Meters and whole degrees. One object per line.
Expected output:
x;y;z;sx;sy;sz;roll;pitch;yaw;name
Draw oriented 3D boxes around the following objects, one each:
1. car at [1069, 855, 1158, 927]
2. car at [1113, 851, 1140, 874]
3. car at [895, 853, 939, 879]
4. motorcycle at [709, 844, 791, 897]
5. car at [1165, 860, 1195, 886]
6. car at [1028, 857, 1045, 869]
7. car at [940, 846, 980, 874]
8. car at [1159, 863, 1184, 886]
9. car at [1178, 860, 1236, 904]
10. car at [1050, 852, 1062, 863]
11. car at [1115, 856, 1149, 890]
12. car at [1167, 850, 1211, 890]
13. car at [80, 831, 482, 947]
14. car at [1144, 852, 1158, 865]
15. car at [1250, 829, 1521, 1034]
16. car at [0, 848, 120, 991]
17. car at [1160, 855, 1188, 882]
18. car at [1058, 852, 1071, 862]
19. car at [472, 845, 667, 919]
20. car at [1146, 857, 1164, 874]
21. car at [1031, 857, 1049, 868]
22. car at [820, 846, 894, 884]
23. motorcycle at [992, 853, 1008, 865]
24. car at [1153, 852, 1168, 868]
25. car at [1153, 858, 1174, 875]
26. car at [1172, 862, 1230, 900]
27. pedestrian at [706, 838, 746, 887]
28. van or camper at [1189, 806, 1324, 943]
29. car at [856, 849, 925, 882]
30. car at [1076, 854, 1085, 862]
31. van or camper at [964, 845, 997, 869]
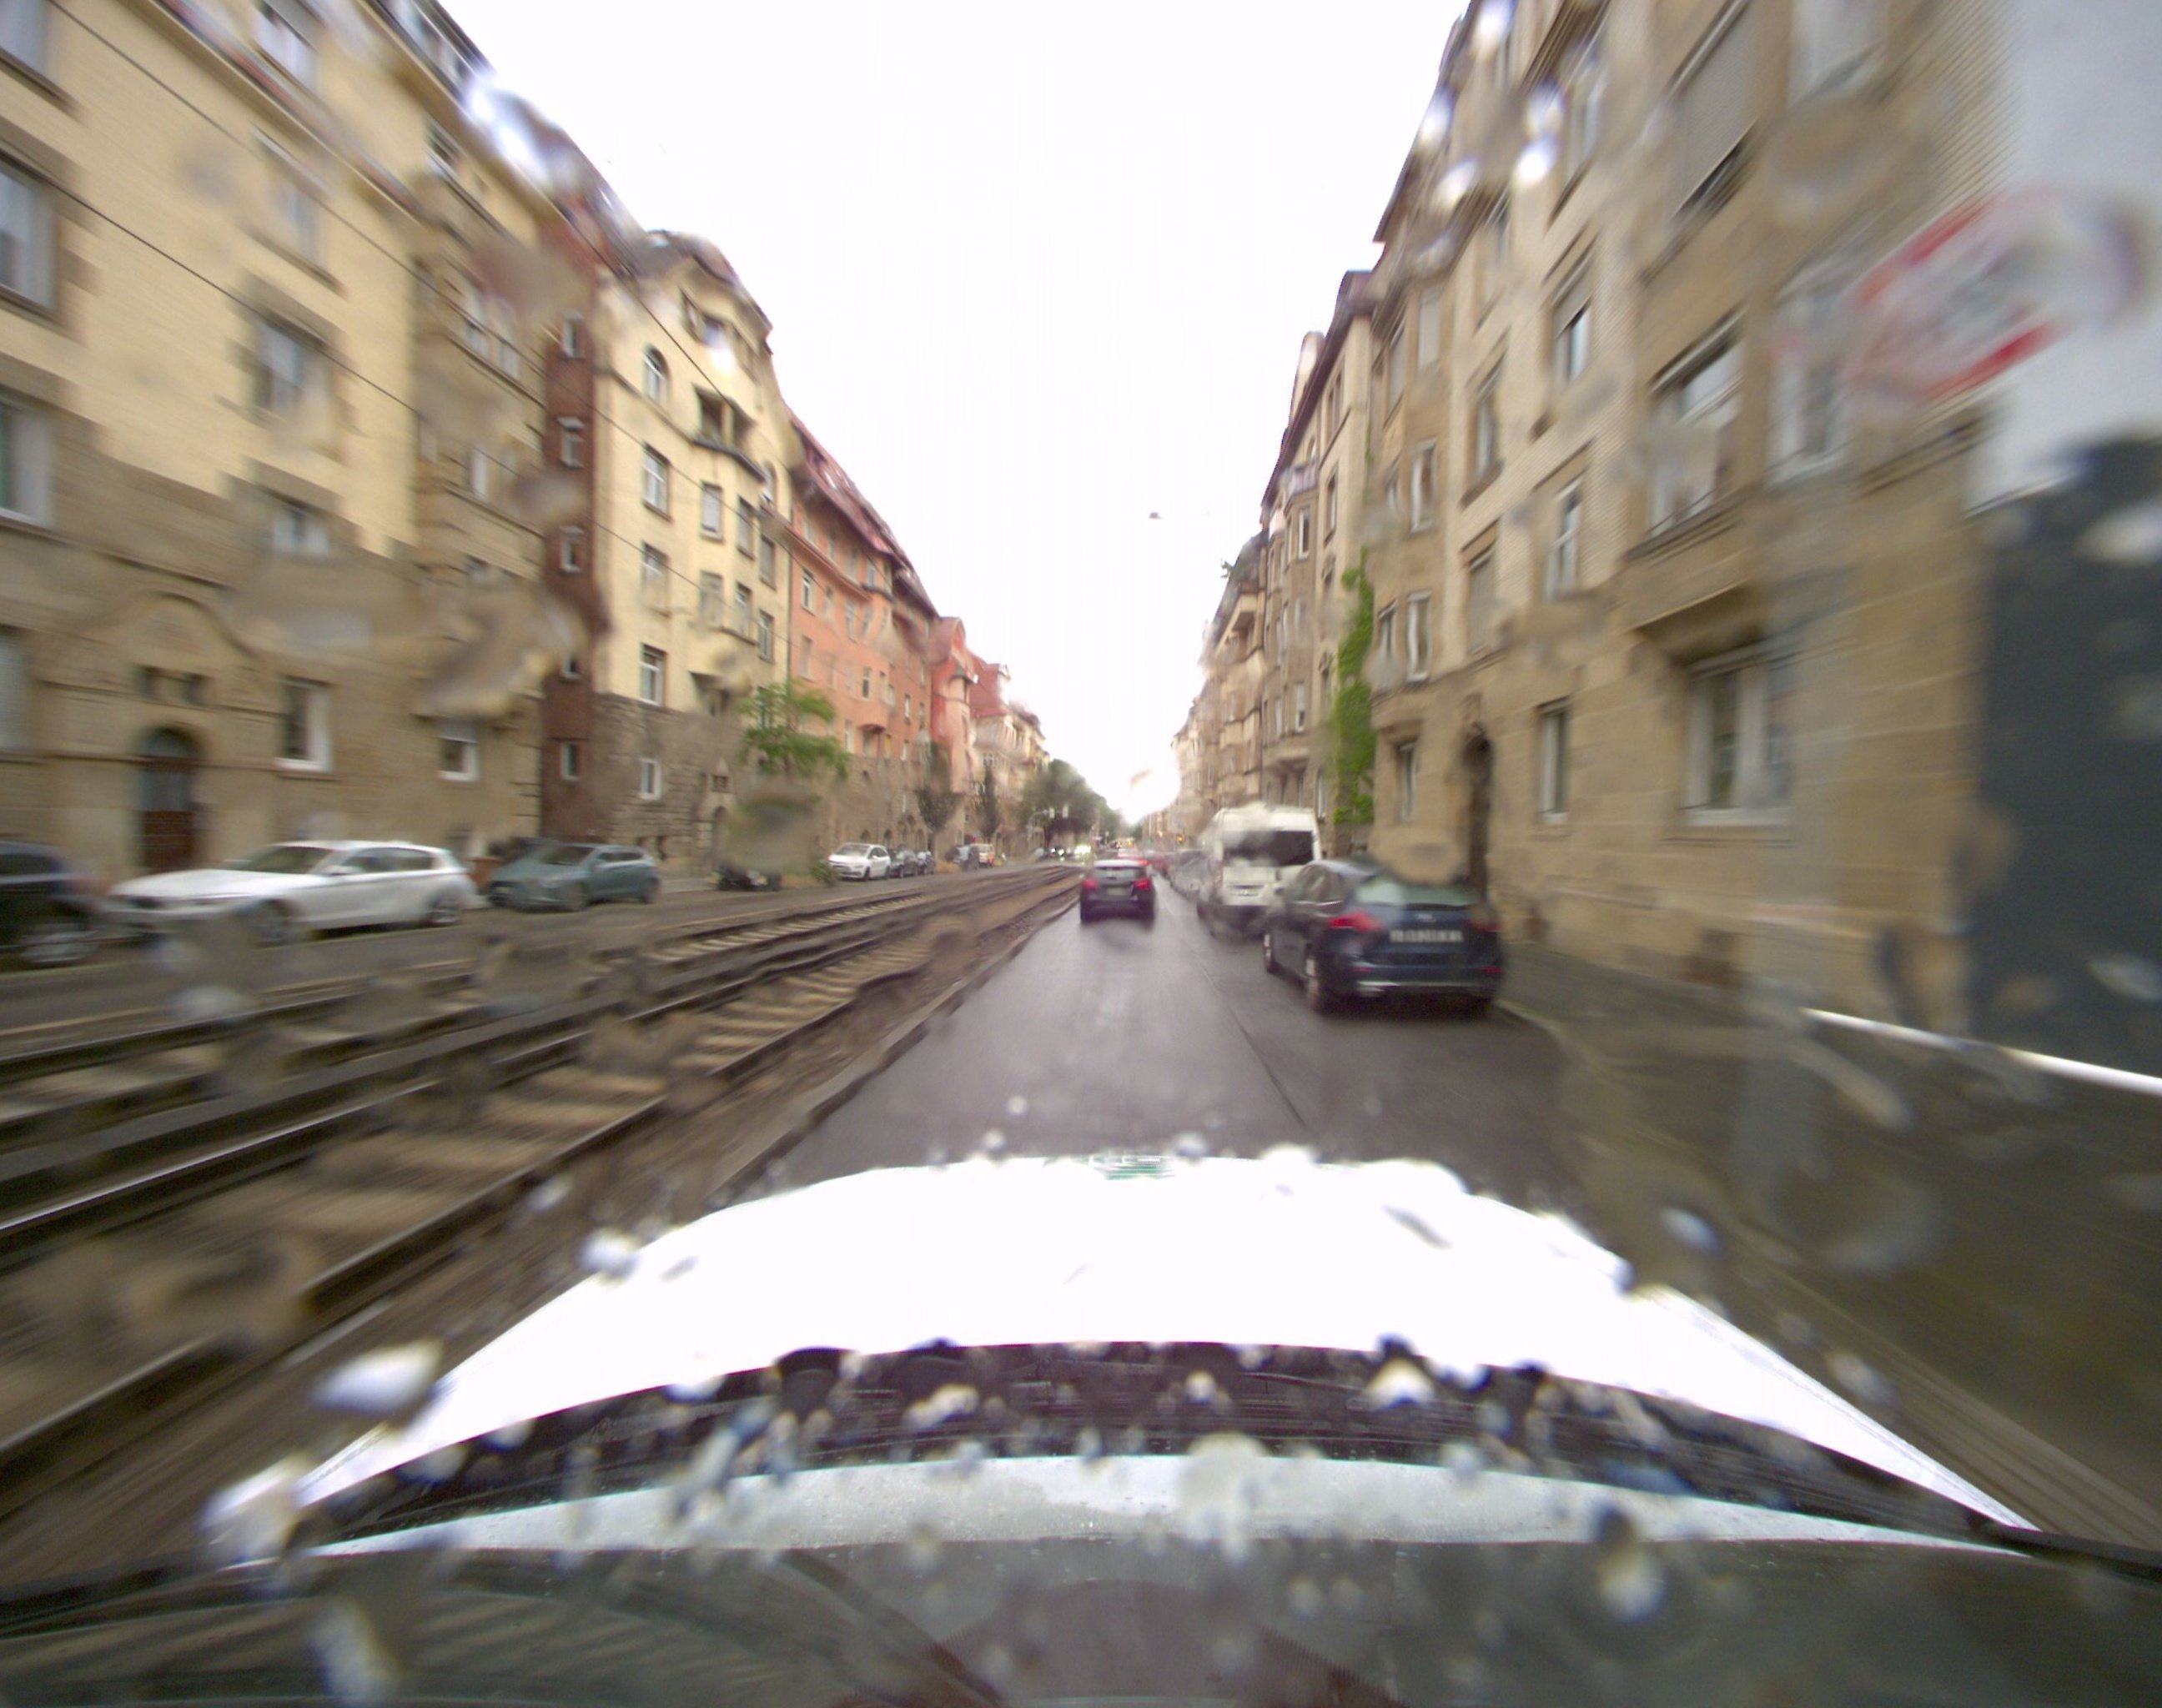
0.807;0.859;19.864;1.938;1.565;3.645;1;-1;2;car
3.436;0.661;62.191;1.914;1.655;4.002;1;0;2;car
-9.621;0.698;48.016;1.636;1.398;3.884;2;0;1;car
-10.833;0.532;26.758;2.262;1.642;1.287;2;0;-14;motorcycle
5.898;1.120;48.839;1.552;1.478;3.464;2;0;4;car
-5.796;1.171;106.347;1.764;1.464;4.004;1;-1;4;car
-8.810;0.454;59.846;1.985;1.901;4.702;1;-1;3;car
6.690;1.517;60.404;1.630;1.543;3.470;2;0;4;car
4.502;0.967;29.538;1.669;1.411;4.003;1;0;3;car
-4.057;0.512;132.700;1.785;1.691;3.997;2;-1;-2;car
2.482;0.893;39.555;1.529;1.510;4.004;2;-1;4;car
5.067;0.714;38.746;1.767;1.776;4.365;1;0;4;car
-11.756;0.473;12.481;1.659;1.426;4.268;2;-1;5;car
10.167;0.731;118.190;1.762;1.776;3.999;1;-2;0;car
3.247;0.724;9.692;1.761;1.808;4.486;2;-1;4;car
-12.240;0.650;7.523;1.757;1.486;4.004;1;-1;4;car
6.054;0.954;53.271;1.702;1.628;4.006;2;0;5;car
-3.038;0.607;149.836;1.985;1.794;4.004;2;0;4;car
-11.377;0.584;18.515;1.554;1.438;4.149;2;0;4;car
6.870;1.087;75.860;1.542;1.508;4.004;2;0;4;car
-5.596;1.163;111.672;1.985;1.517;4.004;2;0;4;car
-10.135;0.481;37.160;1.775;1.589;4.358;0;0;6;car
-7.791;0.460;78.138;1.423;1.134;0.624;2;-1;33;motorcycle
10.414;0.836;106.909;1.890;2.028;4.180;1;-2;4;car
7.119;1.036;70.239;1.596;1.419;3.150;2;0;2;car
4.925;1.081;33.909;1.985;1.441;4.002;1;-1;3;car
-13.154;0.305;30.223;1.002;1.753;0.925;1;0;4;pedestrian
3.637;0.423;18.089;2.055;2.469;6.124;1;-1;4;van or camper
-9.910;0.571;42.845;1.984;1.509;4.981;3;0;5;car
-0.059;0.791;173.239;1.790;1.548;3.999;3;0;0;car
-8.312;0.258;67.739;1.986;1.901;4.701;1;0;2;van or camper
